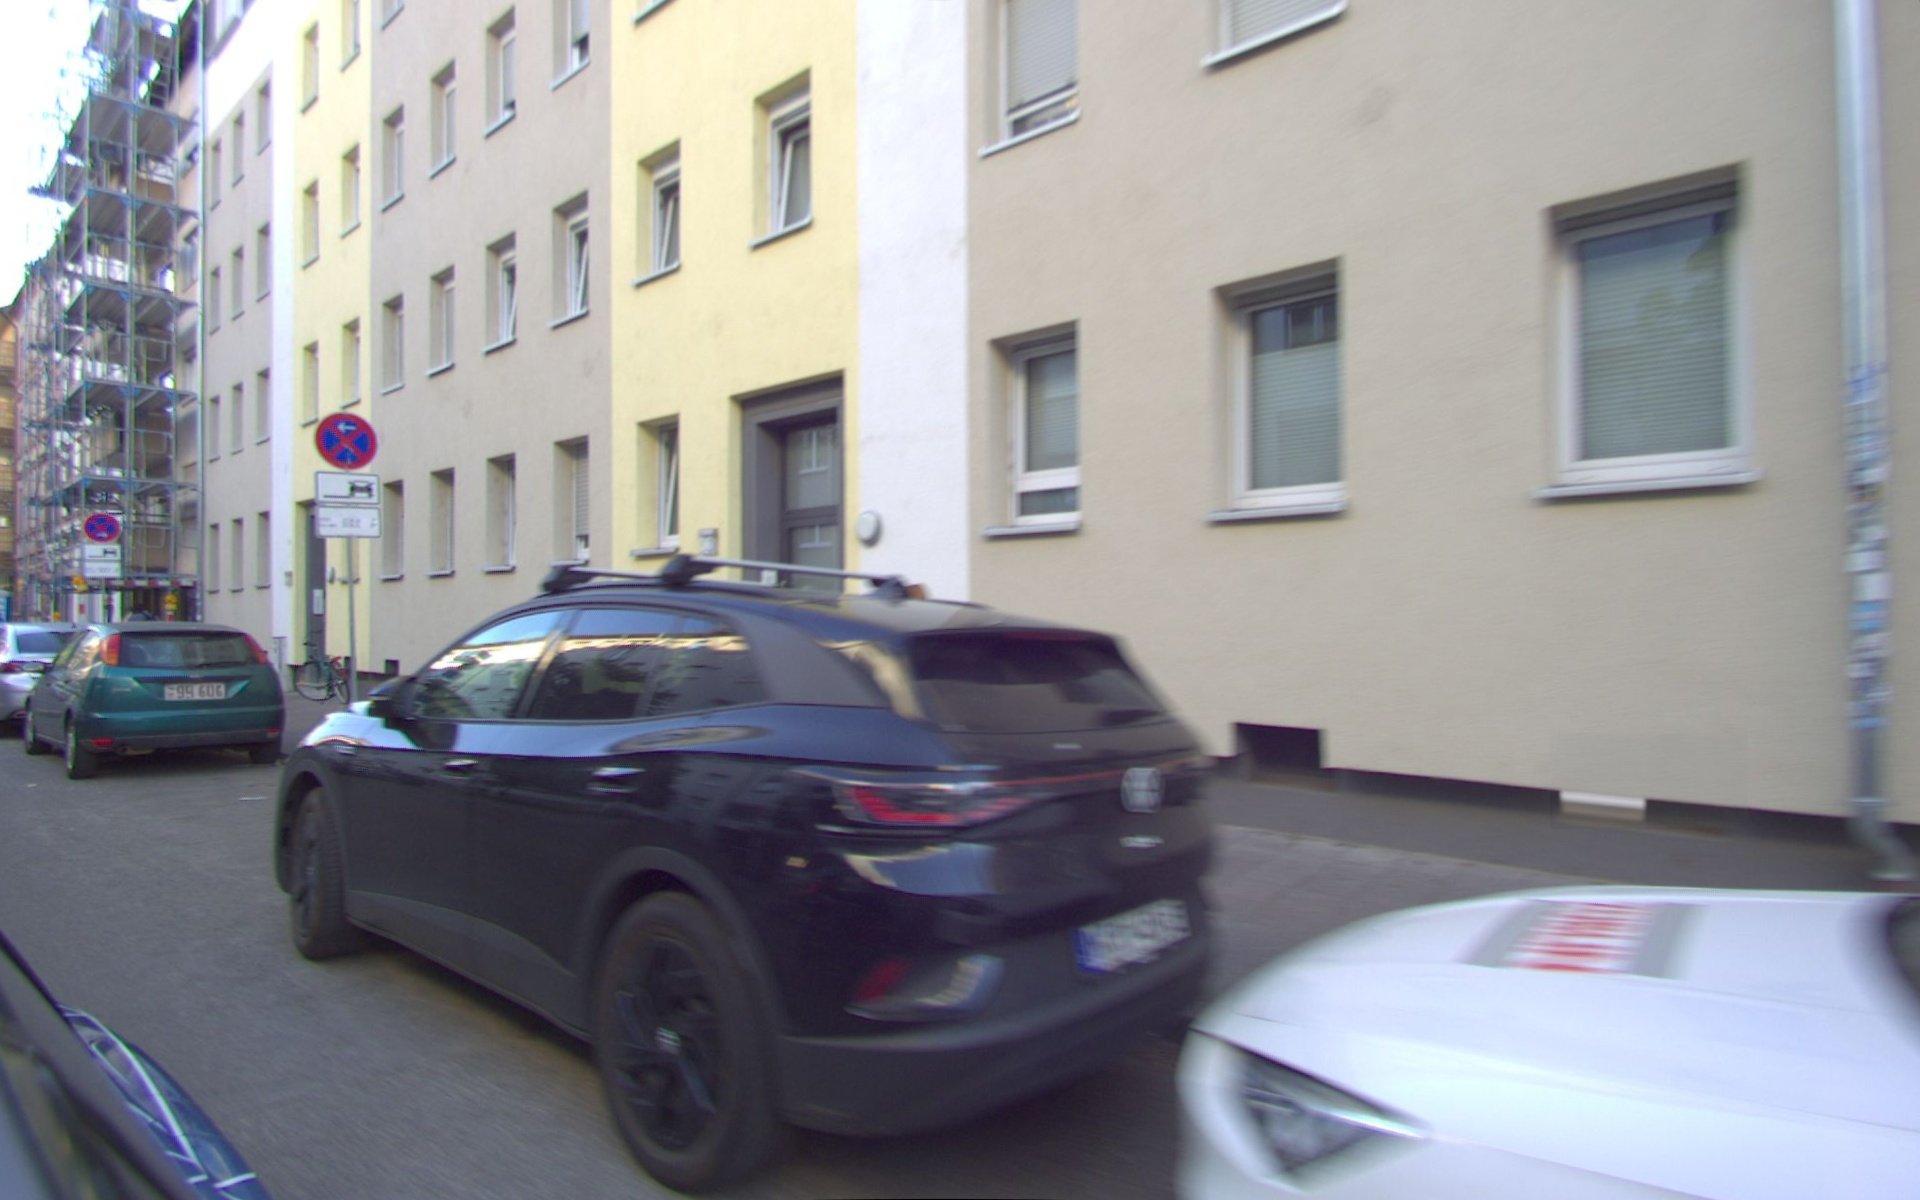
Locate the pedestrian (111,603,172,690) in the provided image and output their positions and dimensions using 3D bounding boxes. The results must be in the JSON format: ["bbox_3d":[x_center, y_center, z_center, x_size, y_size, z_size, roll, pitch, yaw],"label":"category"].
[{"bbox_3d":[-17.144,0.962,21.200,1.091,1.774,0.780,-1,-3,41],"label":"pedestrian"}]

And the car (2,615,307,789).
[{"bbox_3d":[-8.770,0.945,10.876,4.418,1.500,1.760,-1,-3,41],"label":"car"}]

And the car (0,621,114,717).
[{"bbox_3d":[-16.484,1.119,17.578,4.613,1.500,1.903,-1,-3,40],"label":"car"}]

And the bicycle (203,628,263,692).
[{"bbox_3d":[-14.266,1.160,19.841,1.730,1.177,0.473,-1,2,39],"label":"bicycle"}]

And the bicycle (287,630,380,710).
[{"bbox_3d":[-9.801,1.057,15.803,1.922,1.177,0.604,-1,-3,39],"label":"bicycle"}]

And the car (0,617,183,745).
[{"bbox_3d":[-12.511,1.009,13.970,4.614,1.500,1.903,-1,-3,41],"label":"car"}]

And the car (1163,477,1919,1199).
[{"bbox_3d":[2.526,0.674,0.830,4.264,1.572,1.901,-2,-4,40],"label":"car"}]

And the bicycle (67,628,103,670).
[{"bbox_3d":[-26.635,1.471,30.814,0.483,1.177,1.687,-3,2,-30],"label":"bicycle"}]

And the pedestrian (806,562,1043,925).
[{"bbox_3d":[-0.203,0.730,5.709,1.091,1.804,0.780,-1,-3,41],"label":"pedestrian"}]

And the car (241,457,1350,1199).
[{"bbox_3d":[-1.035,0.662,4.035,4.465,1.676,1.901,-2,-4,40],"label":"car"}]

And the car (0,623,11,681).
[{"bbox_3d":[-27.241,1.374,27.216,3.996,1.516,1.973,-1,-3,40],"label":"car"}]

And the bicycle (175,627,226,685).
[{"bbox_3d":[-16.243,1.178,21.629,1.814,1.177,0.400,-1,2,39],"label":"bicycle"}]
